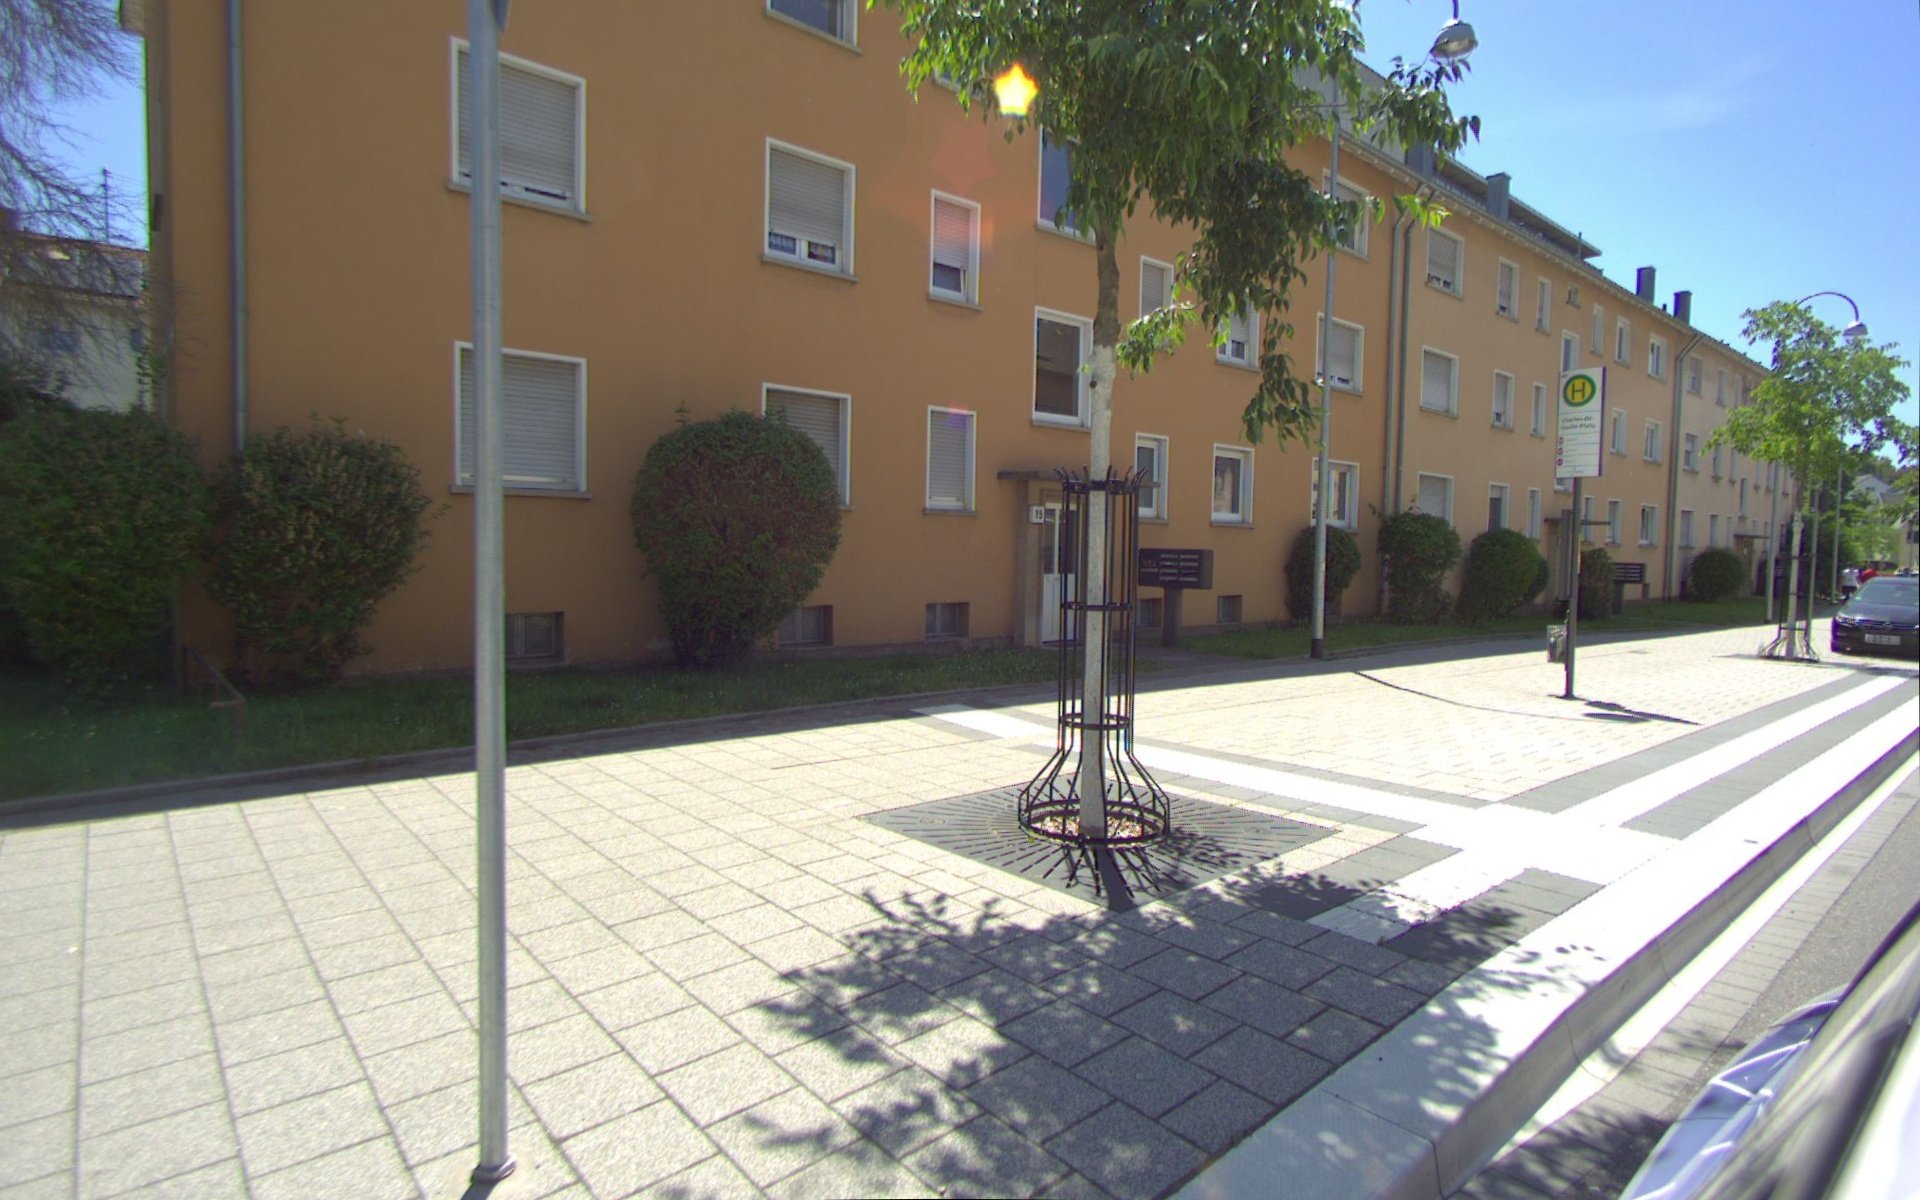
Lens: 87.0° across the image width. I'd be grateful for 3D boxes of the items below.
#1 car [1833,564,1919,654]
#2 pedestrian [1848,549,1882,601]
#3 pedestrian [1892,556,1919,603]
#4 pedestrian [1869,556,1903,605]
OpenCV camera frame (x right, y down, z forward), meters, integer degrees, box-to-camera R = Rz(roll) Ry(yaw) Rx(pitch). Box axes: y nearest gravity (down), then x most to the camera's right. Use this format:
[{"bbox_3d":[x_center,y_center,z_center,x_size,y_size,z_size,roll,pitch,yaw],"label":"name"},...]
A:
[{"bbox_3d":[18.806,0.132,19.813,4.976,1.522,1.838,-1,6,-41],"label":"car"},{"bbox_3d":[33.520,-0.918,37.483,0.968,1.876,0.821,-1,3,-45],"label":"pedestrian"},{"bbox_3d":[36.948,-0.789,39.114,1.172,1.753,1.172,7,7,44],"label":"pedestrian"},{"bbox_3d":[36.137,-0.779,39.482,0.990,1.832,0.789,-1,6,-45],"label":"pedestrian"}]
